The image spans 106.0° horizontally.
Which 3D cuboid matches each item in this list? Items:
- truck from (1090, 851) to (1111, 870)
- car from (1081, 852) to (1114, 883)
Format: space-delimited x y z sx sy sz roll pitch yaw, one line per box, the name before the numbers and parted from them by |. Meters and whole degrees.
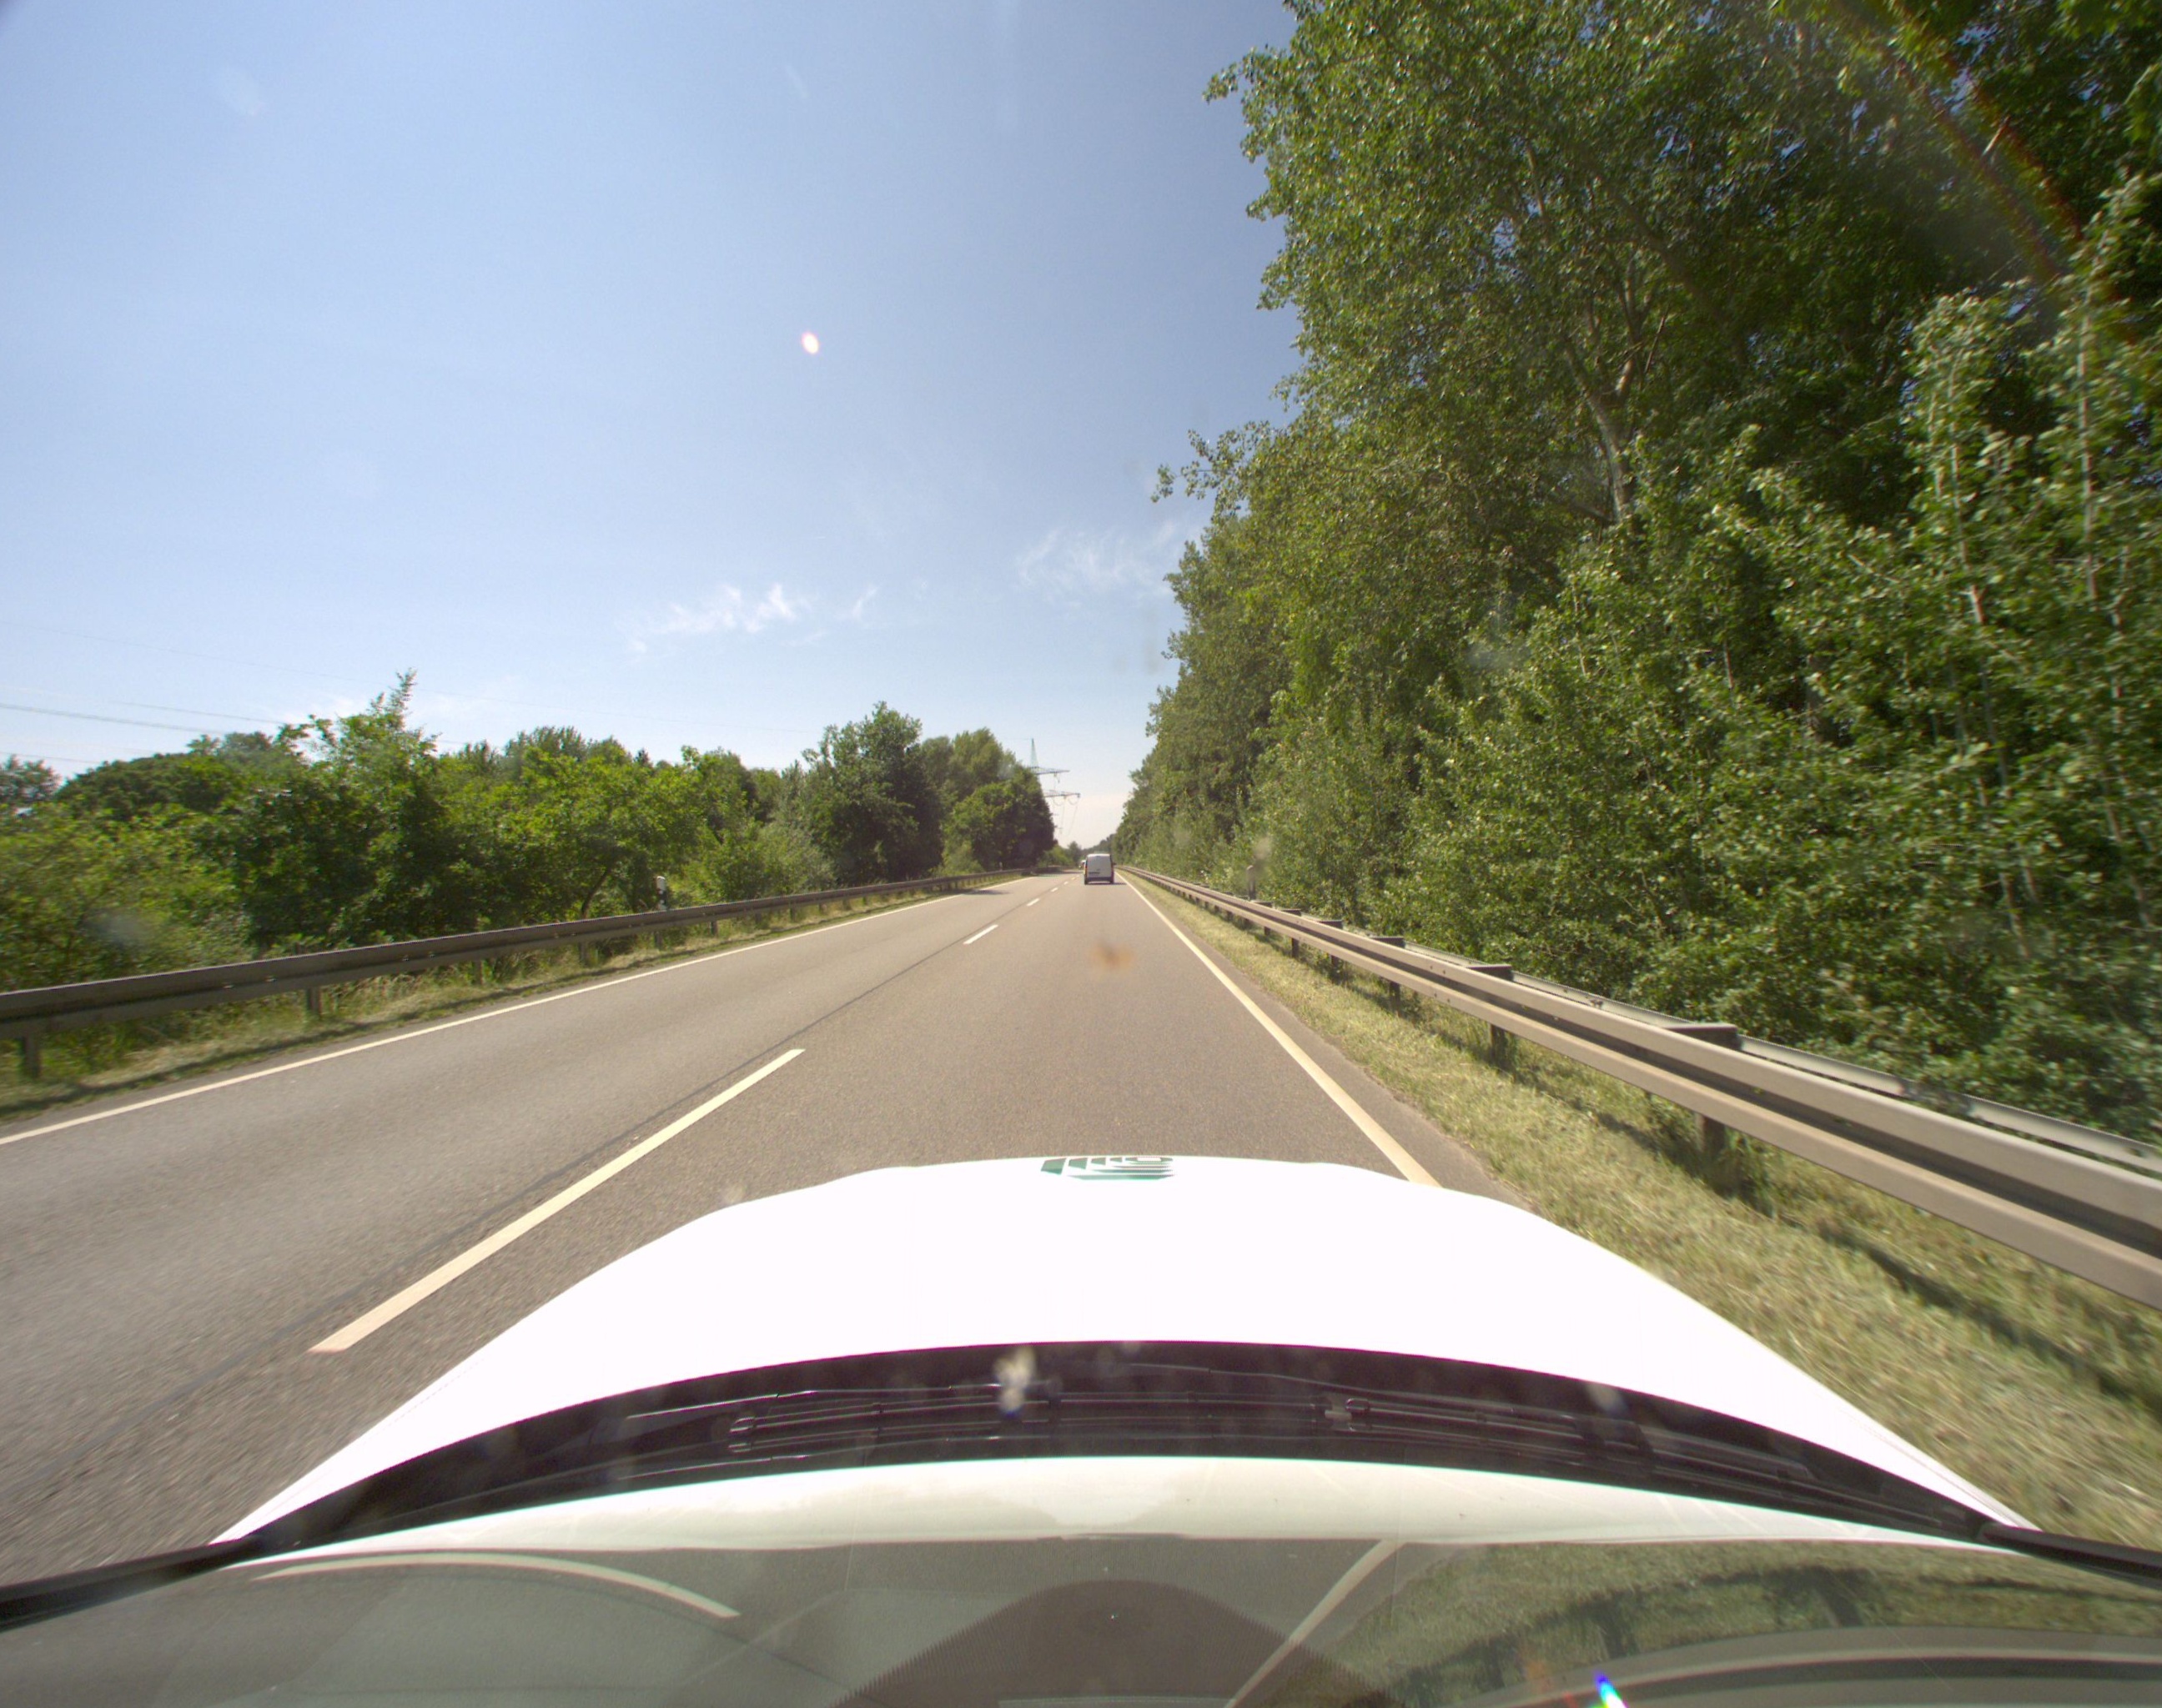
truck | 3.645 1.101 147.261 3.283 3.172 14.416 -1 0 3
car | 1.006 0.784 48.685 1.868 1.741 4.001 -1 0 1
